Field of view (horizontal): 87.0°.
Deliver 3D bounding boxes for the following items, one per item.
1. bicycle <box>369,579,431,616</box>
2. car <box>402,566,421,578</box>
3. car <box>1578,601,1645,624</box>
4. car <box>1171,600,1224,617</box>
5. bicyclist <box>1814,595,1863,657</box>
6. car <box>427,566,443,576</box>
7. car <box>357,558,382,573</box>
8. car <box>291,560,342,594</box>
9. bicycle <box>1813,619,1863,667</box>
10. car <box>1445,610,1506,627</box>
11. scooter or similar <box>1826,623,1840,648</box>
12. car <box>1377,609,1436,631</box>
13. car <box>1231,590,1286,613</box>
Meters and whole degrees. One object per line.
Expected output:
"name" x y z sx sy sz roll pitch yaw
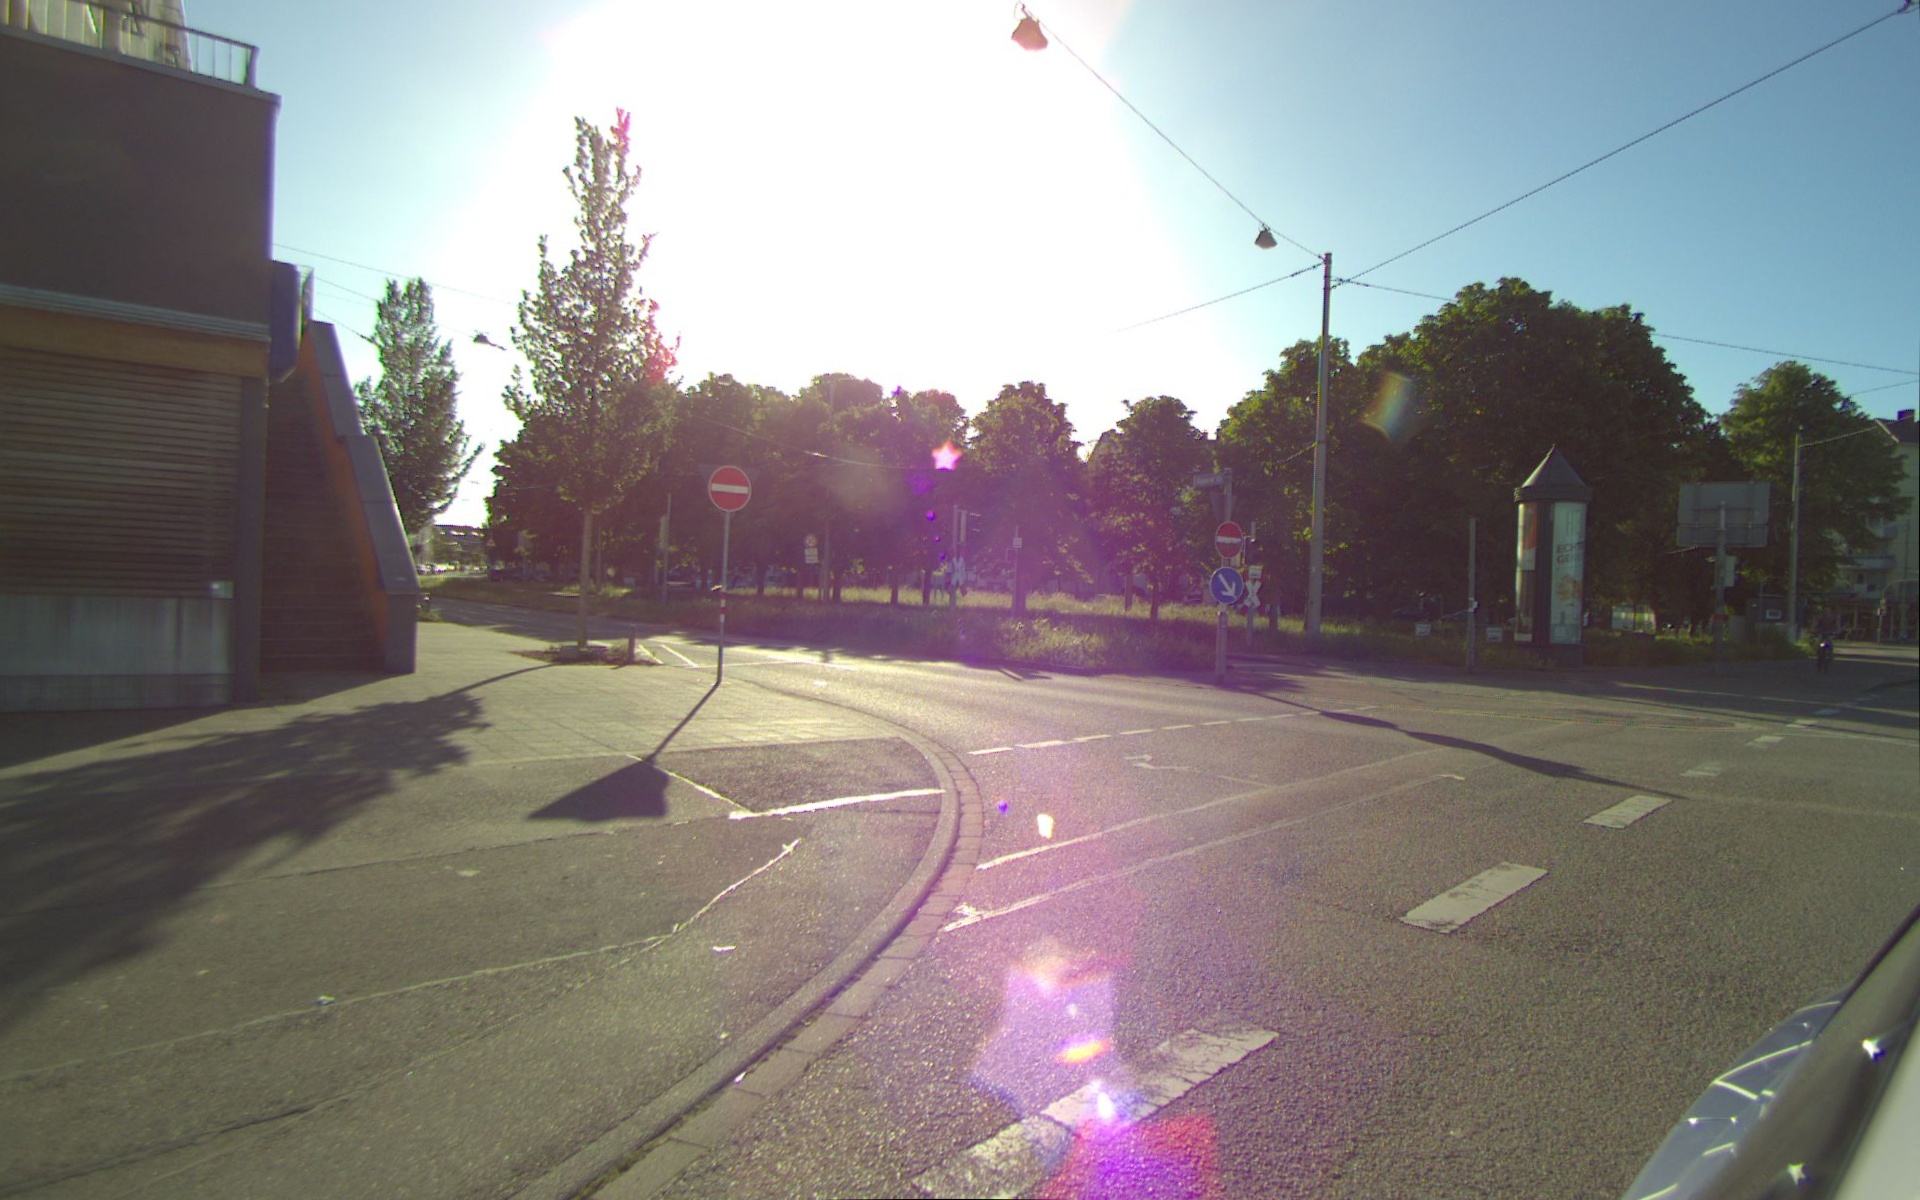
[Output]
"bicycle" -15.123 -0.062 27.374 1.423 0.982 0.483 0 0 -23
"car" -82.728 -4.229 152.715 1.958 1.661 4.008 0 0 -20
"car" 53.543 1.001 83.224 4.173 1.881 1.998 0 0 4
"car" 20.785 0.738 88.832 4.301 1.446 1.689 0 0 5
"bicyclist" 24.185 0.719 27.859 1.129 1.619 0.813 2 1 -41
"car" -91.976 -5.071 177.303 1.958 1.661 4.008 0 0 -20
"car" -70.623 -4.105 121.074 1.958 1.661 4.008 0 0 -20
"car" -33.162 -1.155 52.126 1.962 1.661 3.999 0 0 -36
"bicycle" 24.133 1.170 27.795 1.966 1.207 0.720 2 1 -41
"car" 42.996 1.527 84.480 4.111 1.362 1.998 0 0 4
"scooter or similar" 46.491 1.894 53.907 0.383 1.233 1.808 5 0 37
"car" 37.810 1.683 85.830 4.111 1.738 1.998 0 0 4
"car" 25.920 0.121 88.003 4.256 1.989 1.907 0 0 5
